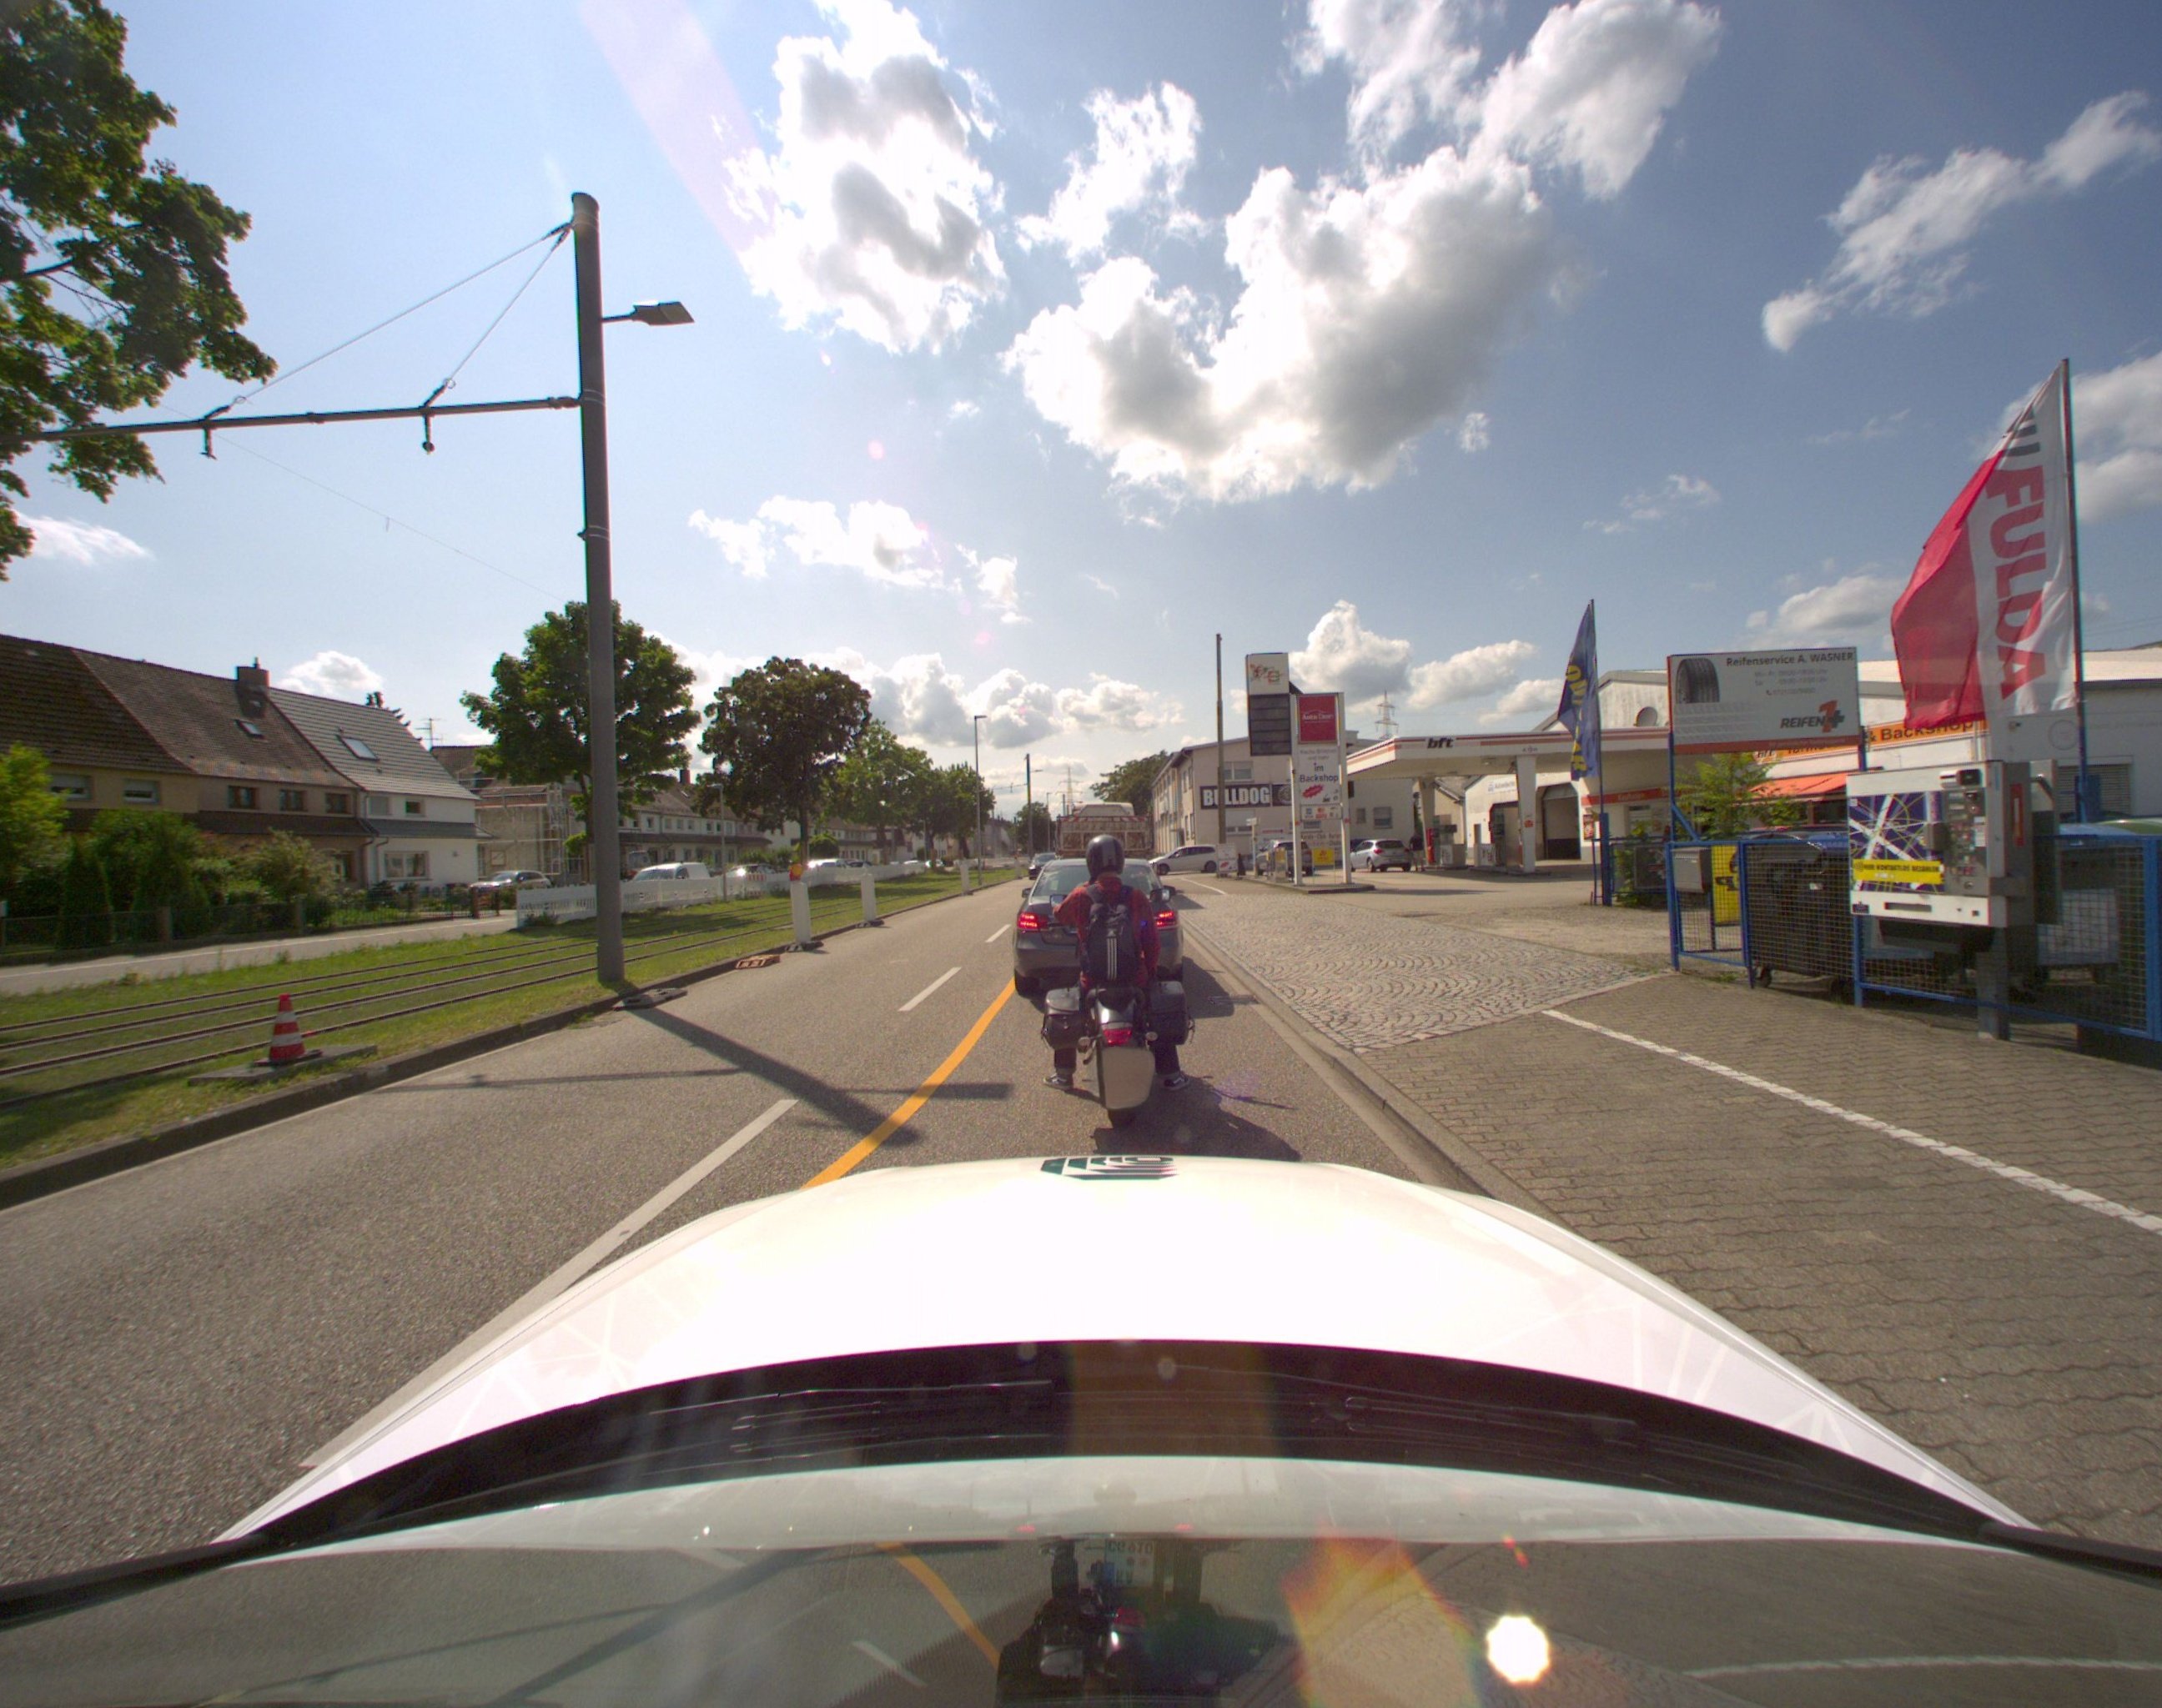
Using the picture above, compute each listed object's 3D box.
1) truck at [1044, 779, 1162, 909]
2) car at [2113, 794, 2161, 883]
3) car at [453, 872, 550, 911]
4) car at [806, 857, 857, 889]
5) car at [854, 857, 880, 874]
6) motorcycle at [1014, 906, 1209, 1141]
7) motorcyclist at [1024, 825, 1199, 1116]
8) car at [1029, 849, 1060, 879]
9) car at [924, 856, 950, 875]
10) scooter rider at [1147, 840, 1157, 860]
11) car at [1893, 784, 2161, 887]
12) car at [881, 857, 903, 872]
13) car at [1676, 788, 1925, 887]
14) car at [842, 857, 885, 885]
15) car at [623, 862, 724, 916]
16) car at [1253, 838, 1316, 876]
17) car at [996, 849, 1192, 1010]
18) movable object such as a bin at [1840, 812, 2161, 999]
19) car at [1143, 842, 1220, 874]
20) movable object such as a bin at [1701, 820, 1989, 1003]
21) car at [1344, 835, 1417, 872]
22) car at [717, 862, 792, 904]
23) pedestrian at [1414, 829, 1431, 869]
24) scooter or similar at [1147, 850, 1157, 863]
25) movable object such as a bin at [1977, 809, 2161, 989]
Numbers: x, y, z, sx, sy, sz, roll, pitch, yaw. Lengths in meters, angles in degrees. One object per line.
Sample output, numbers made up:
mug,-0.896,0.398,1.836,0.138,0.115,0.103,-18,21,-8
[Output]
truck,0.638,-0.283,25.610,2.960,3.304,8.407,-2,0,1
car,26.348,-0.435,18.191,3.972,2.013,2.001,-2,0,1
car,-27.484,1.730,38.797,1.692,1.593,3.862,-2,0,2
car,-15.086,1.109,49.396,1.692,1.739,3.862,-2,0,2
car,-24.471,1.298,93.143,1.692,1.739,4.064,-2,0,2
motorcycle,0.192,0.932,5.319,0.972,1.013,2.433,-1,0,2
motorcyclist,0.191,0.654,5.201,0.966,1.633,1.215,-1,0,1
car,-2.177,0.590,48.249,1.677,1.624,4.113,-2,0,-4
car,-14.196,1.148,80.269,1.692,1.739,3.862,-2,0,2
scooter rider,6.501,-0.353,74.485,0.792,1.818,0.508,-2,0,1
car,21.245,-0.402,18.276,3.972,2.013,2.001,-2,0,1
car,-24.385,1.339,105.370,1.692,1.739,4.064,-2,0,2
car,16.598,-0.373,18.968,3.972,2.013,2.001,-2,0,1
car,-14.873,1.138,55.763,1.692,1.739,3.862,-2,0,2
car,-15.422,1.277,31.061,1.692,1.817,3.862,-2,0,2
car,9.064,0.120,36.582,1.826,1.536,4.009,-3,0,1
car,0.155,0.721,9.883,1.826,1.479,4.009,-3,0,1
movable object such as a bin,8.100,0.415,7.286,1.222,1.454,1.455,-2,0,0
car,5.761,0.225,47.055,4.101,1.624,1.682,-3,0,-7
movable object such as a bin,6.821,0.470,7.410,1.222,1.454,1.455,-2,0,0
car,13.534,-0.025,37.075,1.826,1.479,4.009,-3,0,1
car,-15.330,1.323,38.492,1.692,1.739,4.056,-2,0,2
pedestrian,14.837,-0.212,35.394,0.628,1.683,0.626,-2,0,23
scooter or similar,6.526,0.192,74.546,0.792,1.144,1.520,-2,0,2
movable object such as a bin,9.446,0.335,7.196,1.425,1.454,1.455,-2,0,0
